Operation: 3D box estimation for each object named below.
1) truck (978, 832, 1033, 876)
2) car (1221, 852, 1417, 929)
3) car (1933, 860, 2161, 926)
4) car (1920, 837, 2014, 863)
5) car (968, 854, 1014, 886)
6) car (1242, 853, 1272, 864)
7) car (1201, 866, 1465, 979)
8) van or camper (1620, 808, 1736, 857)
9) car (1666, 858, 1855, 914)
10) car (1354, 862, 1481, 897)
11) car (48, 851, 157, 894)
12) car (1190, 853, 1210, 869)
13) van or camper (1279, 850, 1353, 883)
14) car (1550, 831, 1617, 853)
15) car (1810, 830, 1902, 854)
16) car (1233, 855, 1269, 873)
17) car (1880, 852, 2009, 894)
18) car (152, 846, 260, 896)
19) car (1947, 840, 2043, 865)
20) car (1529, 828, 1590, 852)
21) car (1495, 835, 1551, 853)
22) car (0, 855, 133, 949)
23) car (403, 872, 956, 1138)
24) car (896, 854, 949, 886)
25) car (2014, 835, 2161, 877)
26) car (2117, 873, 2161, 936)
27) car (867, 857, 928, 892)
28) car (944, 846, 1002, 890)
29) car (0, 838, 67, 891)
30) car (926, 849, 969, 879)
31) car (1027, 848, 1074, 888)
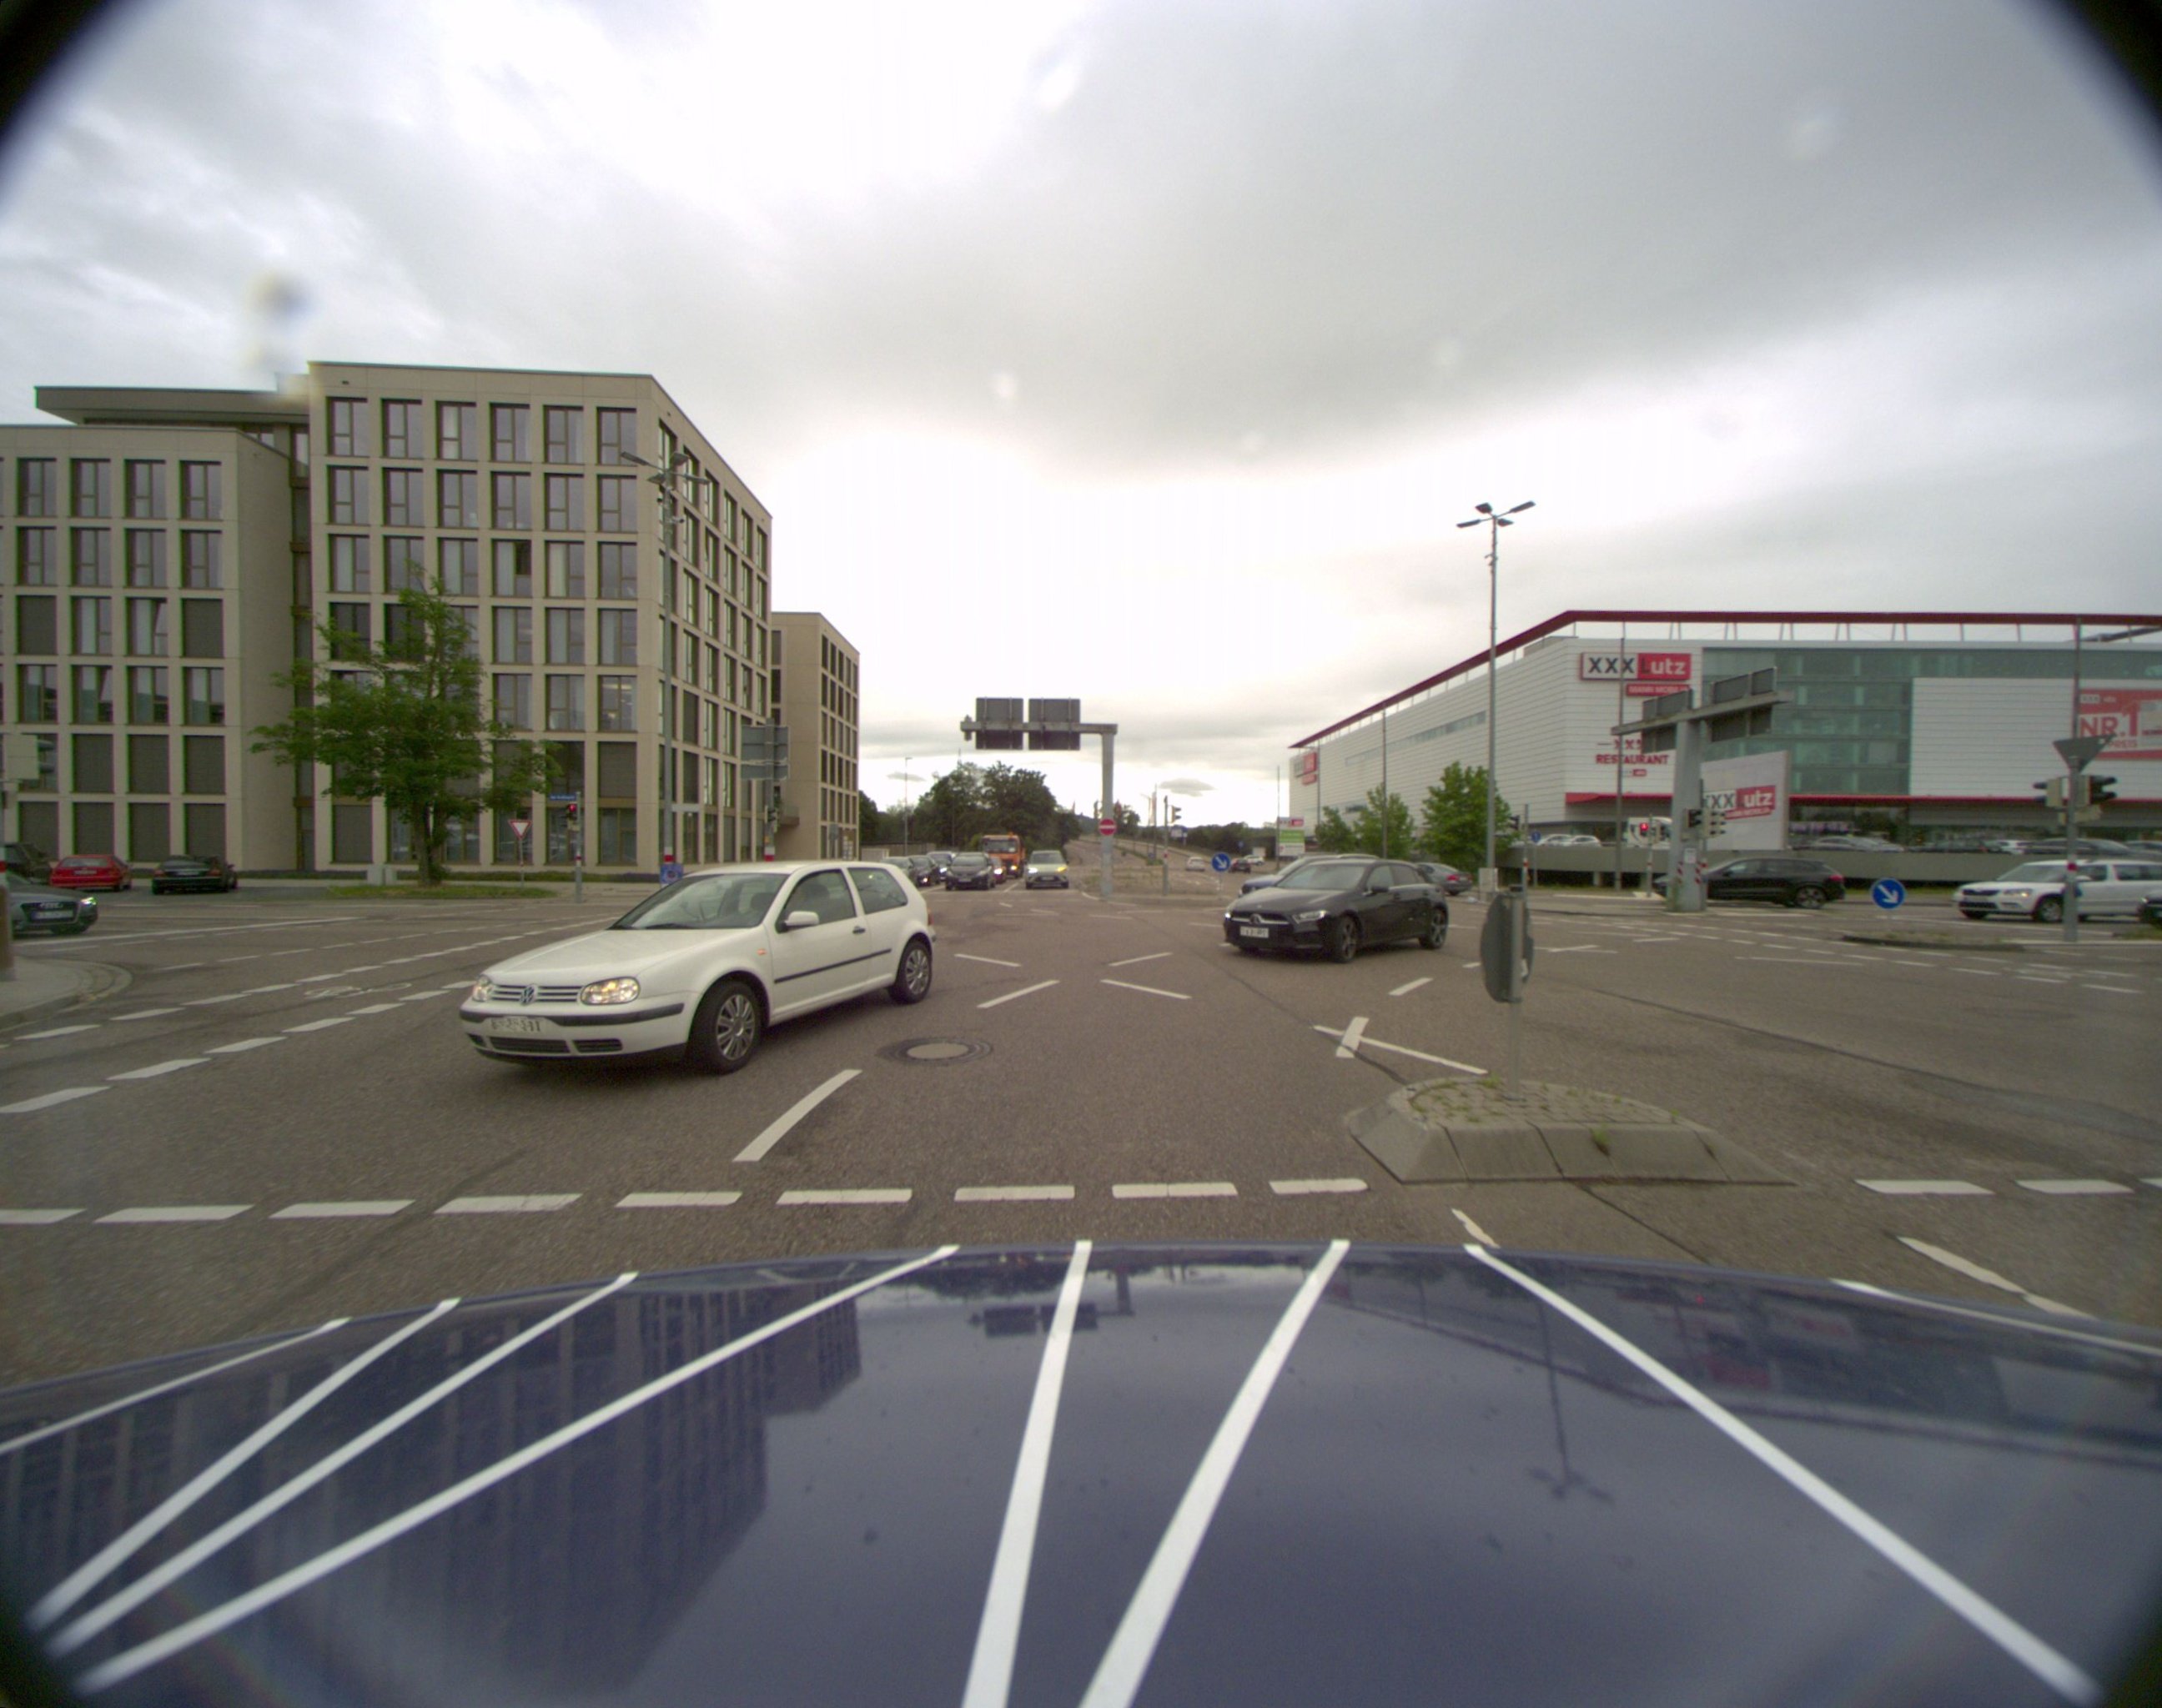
[{"bbox_3d":[-4.736,0.049,48.736,2.819,2.622,6.676,-1,-1,0],"label":"truck"},{"bbox_3d":[5.573,0.778,17.684,4.339,1.612,1.844,0,-1,-28],"label":"car"},{"bbox_3d":[25.478,0.995,19.800,4.370,1.615,1.801,-1,-1,3],"label":"car"},{"bbox_3d":[62.653,-0.224,53.845,1.999,1.728,4.000,-1,-1,-1],"label":"car"},{"bbox_3d":[-4.668,0.824,39.851,1.999,1.592,4.000,-1,-1,-1],"label":"car"},{"bbox_3d":[26.976,0.695,116.554,4.192,1.600,1.723,0,-1,6],"label":"car"},{"bbox_3d":[3.987,0.924,11.717,4.205,1.426,1.855,1,-1,-38],"label":"car"},{"bbox_3d":[42.423,-1.432,54.343,2.712,3.116,7.238,-1,-1,2],"label":"van or camper"},{"bbox_3d":[22.557,1.015,25.465,4.362,1.615,1.804,2,0,26],"label":"car"},{"bbox_3d":[14.832,1.086,33.753,1.821,1.402,4.864,2,-1,-35],"label":"car"},{"bbox_3d":[-37.796,0.656,29.463,1.892,1.542,4.122,-1,1,-43],"label":"car"},{"bbox_3d":[12.365,0.744,78.763,1.832,1.402,4.202,4,-1,11],"label":"car"},{"bbox_3d":[15.084,0.756,49.043,2.166,2.002,4.936,2,0,-15],"label":"van or camper"},{"bbox_3d":[41.263,-0.992,62.436,4.256,1.665,1.777,-1,-1,2],"label":"car"},{"bbox_3d":[50.104,-0.743,49.243,1.869,1.428,3.994,-1,-1,-1],"label":"car"},{"bbox_3d":[16.137,0.995,71.934,1.901,1.439,4.189,-8,-5,32],"label":"car"},{"bbox_3d":[43.744,0.944,38.631,1.998,2.001,4.001,-1,-1,1],"label":"car"},{"bbox_3d":[-33.422,0.594,29.159,1.892,1.758,4.122,-1,1,-37],"label":"car"},{"bbox_3d":[65.317,-0.080,54.412,1.999,1.728,4.000,-1,-1,-1],"label":"car"},{"bbox_3d":[41.551,-1.199,66.088,3.996,2.001,2.001,-1,-1,3],"label":"car"},{"bbox_3d":[41.744,-0.942,71.798,4.256,1.665,1.777,-1,-1,2],"label":"car"},{"bbox_3d":[-20.503,0.808,13.657,4.609,1.542,1.985,0,1,3],"label":"car"},{"bbox_3d":[-2.846,0.915,6.494,1.835,1.469,4.011,-1,-1,18],"label":"car"},{"bbox_3d":[-7.858,0.803,37.981,1.871,1.481,4.150,-1,-1,-2],"label":"car"},{"bbox_3d":[51.728,0.144,39.001,1.999,2.001,4.532,-1,-1,-1],"label":"car"},{"bbox_3d":[25.913,1.095,16.500,4.255,1.370,1.769,-1,-1,2],"label":"car"},{"bbox_3d":[-7.862,0.863,32.889,1.750,1.423,4.098,-1,-1,-2],"label":"car"},{"bbox_3d":[-4.581,0.618,32.836,1.999,1.758,4.422,-1,-1,-2],"label":"car"},{"bbox_3d":[-41.012,0.402,29.138,4.233,1.954,2.004,0,1,44],"label":"car"},{"bbox_3d":[-8.160,0.641,46.756,1.999,1.758,4.150,-1,-1,-2],"label":"car"},{"bbox_3d":[-1.366,0.624,33.492,1.904,1.633,4.068,-1,-1,-3],"label":"car"}]
